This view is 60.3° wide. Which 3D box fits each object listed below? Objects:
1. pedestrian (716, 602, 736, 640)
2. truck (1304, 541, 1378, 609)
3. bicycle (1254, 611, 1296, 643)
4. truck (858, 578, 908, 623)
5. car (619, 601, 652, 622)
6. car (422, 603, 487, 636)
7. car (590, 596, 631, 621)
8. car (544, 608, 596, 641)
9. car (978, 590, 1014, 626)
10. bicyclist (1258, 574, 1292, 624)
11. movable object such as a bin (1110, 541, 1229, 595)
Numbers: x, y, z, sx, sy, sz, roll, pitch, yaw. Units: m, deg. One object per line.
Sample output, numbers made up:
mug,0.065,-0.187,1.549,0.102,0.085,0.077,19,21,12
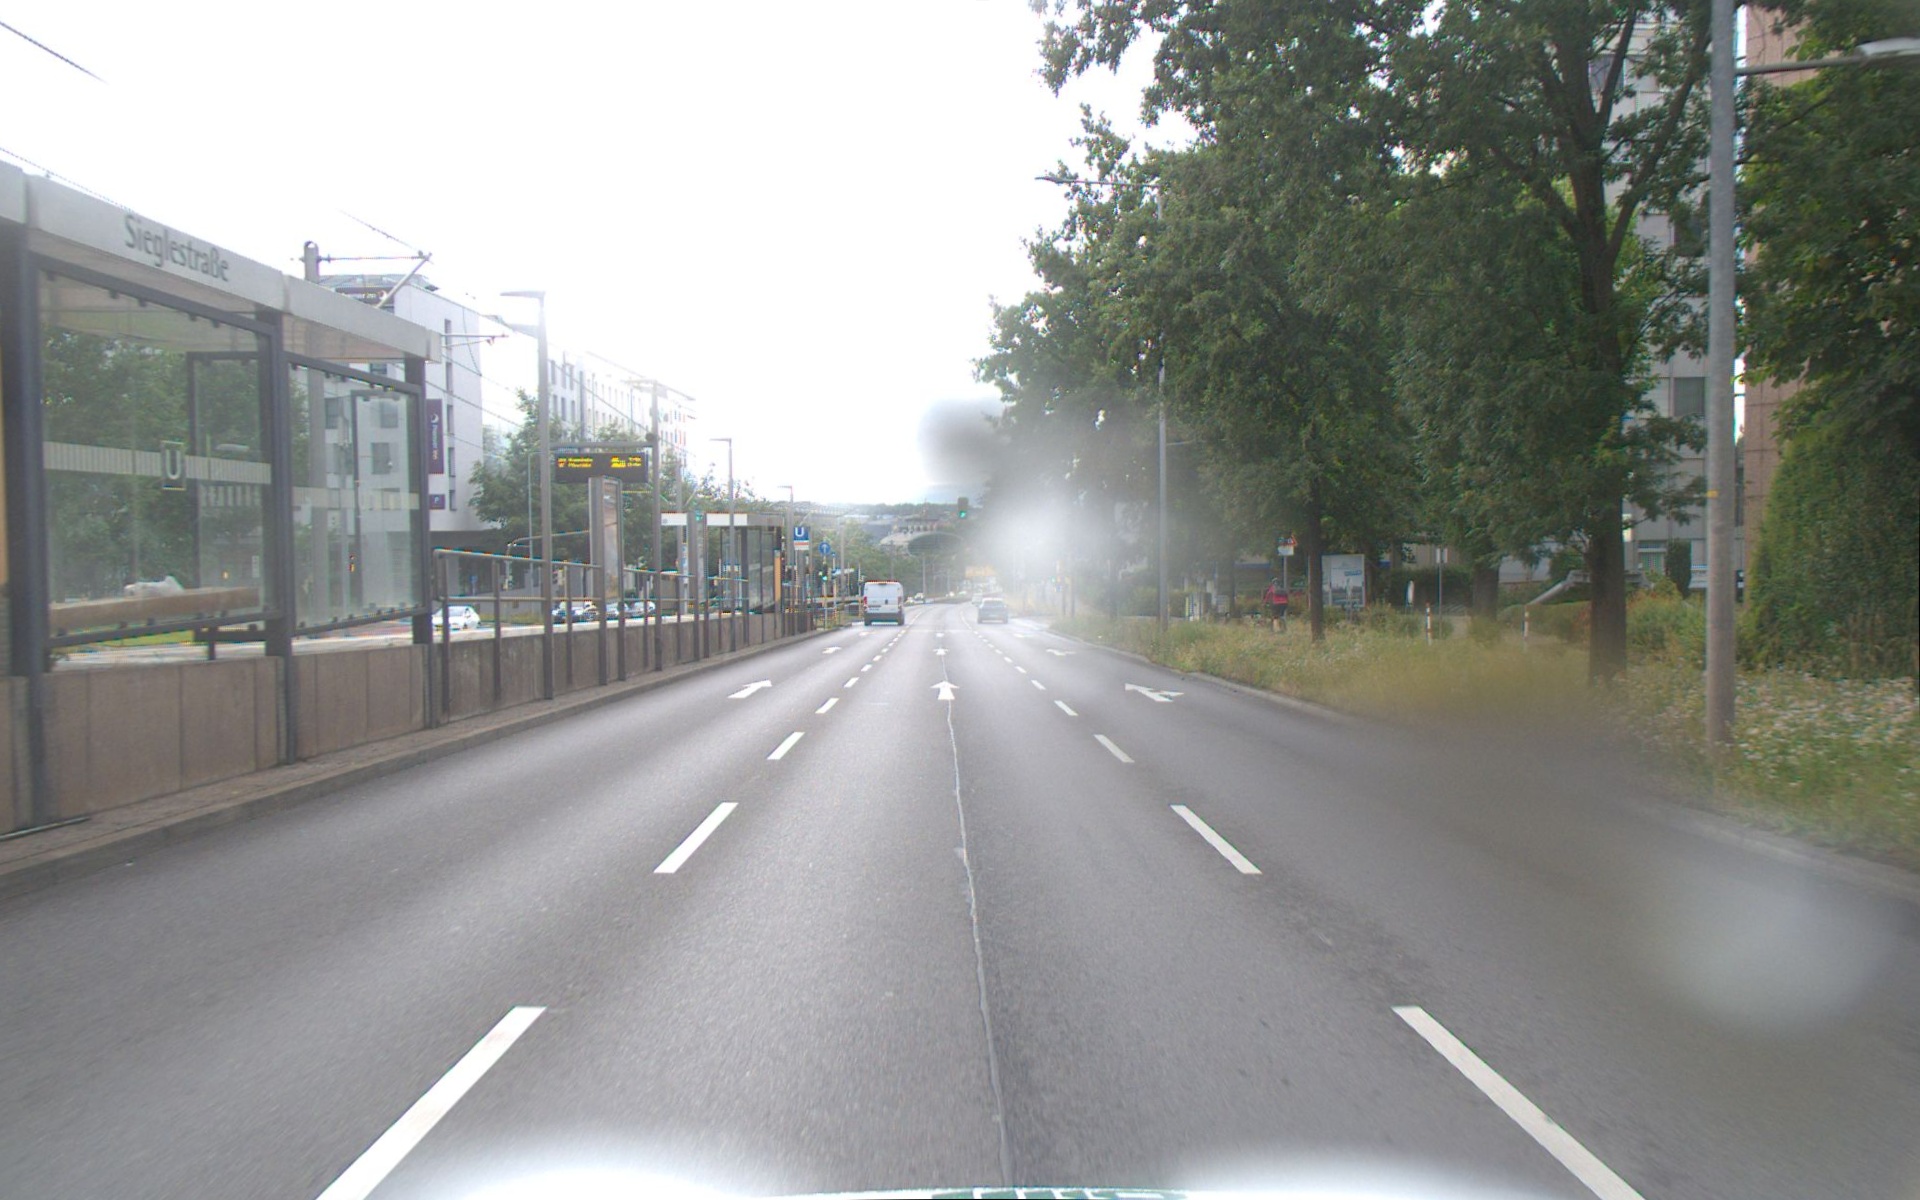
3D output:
pedestrian,-10.266,0.923,72.686,0.693,1.679,0.643,0,0,-29
truck,14.908,-0.959,64.908,1.712,2.562,3.997,1,0,-4
bicycle,8.476,0.706,44.612,0.654,0.823,2.318,1,0,-1
truck,-4.070,0.026,88.325,2.311,2.301,5.306,1,0,1
car,-22.871,0.809,116.654,1.693,1.448,3.778,-1,0,-1
car,-25.141,0.951,82.442,1.954,1.544,4.705,1,0,-3
car,-22.309,0.534,105.736,1.816,1.452,4.386,-2,0,-3
car,-22.333,1.373,94.768,1.953,1.805,4.388,-1,0,-1
car,2.137,0.478,96.877,1.952,2.049,3.935,1,0,3
bicyclist,8.468,-0.020,44.545,0.642,1.310,1.219,1,0,-1
movable object such as a bin,21.907,-3.336,173.131,11.892,5.353,3.789,-1,0,0
